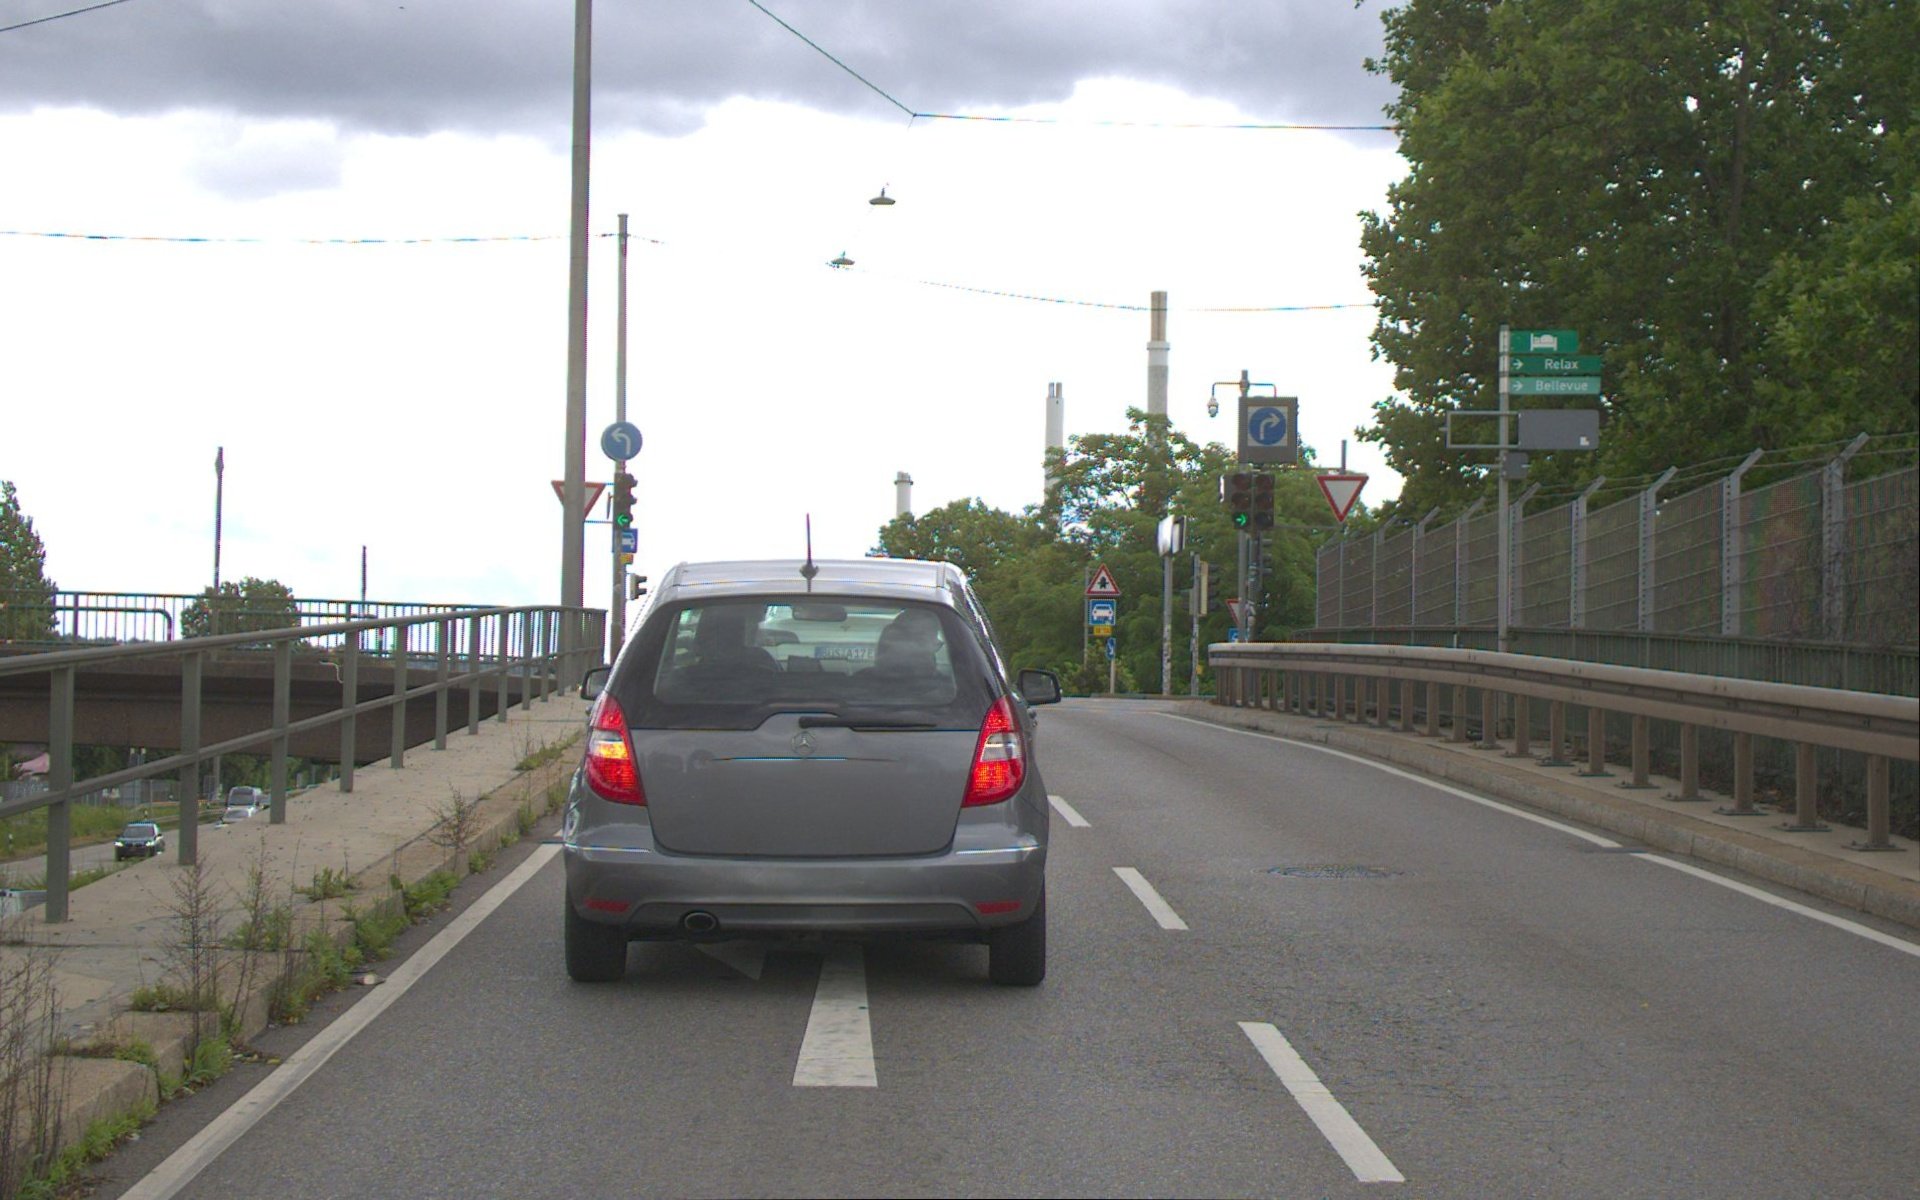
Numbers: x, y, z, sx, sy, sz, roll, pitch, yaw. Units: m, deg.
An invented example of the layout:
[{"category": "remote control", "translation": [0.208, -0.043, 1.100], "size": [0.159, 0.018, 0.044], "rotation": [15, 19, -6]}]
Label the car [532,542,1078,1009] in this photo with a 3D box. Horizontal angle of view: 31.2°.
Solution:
[{"category": "car", "translation": [-0.551, 0.595, 13.843], "size": [1.857, 1.583, 4.000], "rotation": [1, 0, 0]}]

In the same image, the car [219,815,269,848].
[{"category": "car", "translation": [-35.254, 11.398, 169.366], "size": [1.728, 1.523, 4.086], "rotation": [1, -3, -3]}]

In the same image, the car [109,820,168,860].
[{"category": "car", "translation": [-38.513, 11.229, 161.207], "size": [1.915, 1.733, 4.552], "rotation": [0, -3, -4]}]

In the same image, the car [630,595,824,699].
[{"category": "car", "translation": [-4.071, 0.786, 59.458], "size": [1.931, 1.711, 4.001], "rotation": [1, 0, -27]}]

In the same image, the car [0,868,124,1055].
[{"category": "car", "translation": [-15.058, 5.676, 54.781], "size": [1.993, 2.676, 5.932], "rotation": [1, -4, 0]}]

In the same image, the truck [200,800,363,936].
[{"category": "truck", "translation": [-17.527, 6.883, 89.279], "size": [2.746, 3.282, 7.440], "rotation": [1, -3, 0]}]

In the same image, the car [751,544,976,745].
[{"category": "car", "translation": [-0.947, 0.386, 31.979], "size": [1.931, 1.711, 4.406], "rotation": [1, 0, -3]}]

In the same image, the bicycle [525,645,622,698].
[{"category": "bicycle", "translation": [-8.557, 1.578, 76.045], "size": [2.032, 1.121, 0.929], "rotation": [1, 0, -13]}]

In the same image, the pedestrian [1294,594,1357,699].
[{"category": "pedestrian", "translation": [5.928, 0.762, 55.734], "size": [0.832, 1.672, 0.979], "rotation": [1, -3, -5]}]

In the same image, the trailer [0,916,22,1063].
[{"category": "trailer", "translation": [-15.017, 5.695, 49.808], "size": [1.729, 2.123, 3.936], "rotation": [1, -4, 0]}]
